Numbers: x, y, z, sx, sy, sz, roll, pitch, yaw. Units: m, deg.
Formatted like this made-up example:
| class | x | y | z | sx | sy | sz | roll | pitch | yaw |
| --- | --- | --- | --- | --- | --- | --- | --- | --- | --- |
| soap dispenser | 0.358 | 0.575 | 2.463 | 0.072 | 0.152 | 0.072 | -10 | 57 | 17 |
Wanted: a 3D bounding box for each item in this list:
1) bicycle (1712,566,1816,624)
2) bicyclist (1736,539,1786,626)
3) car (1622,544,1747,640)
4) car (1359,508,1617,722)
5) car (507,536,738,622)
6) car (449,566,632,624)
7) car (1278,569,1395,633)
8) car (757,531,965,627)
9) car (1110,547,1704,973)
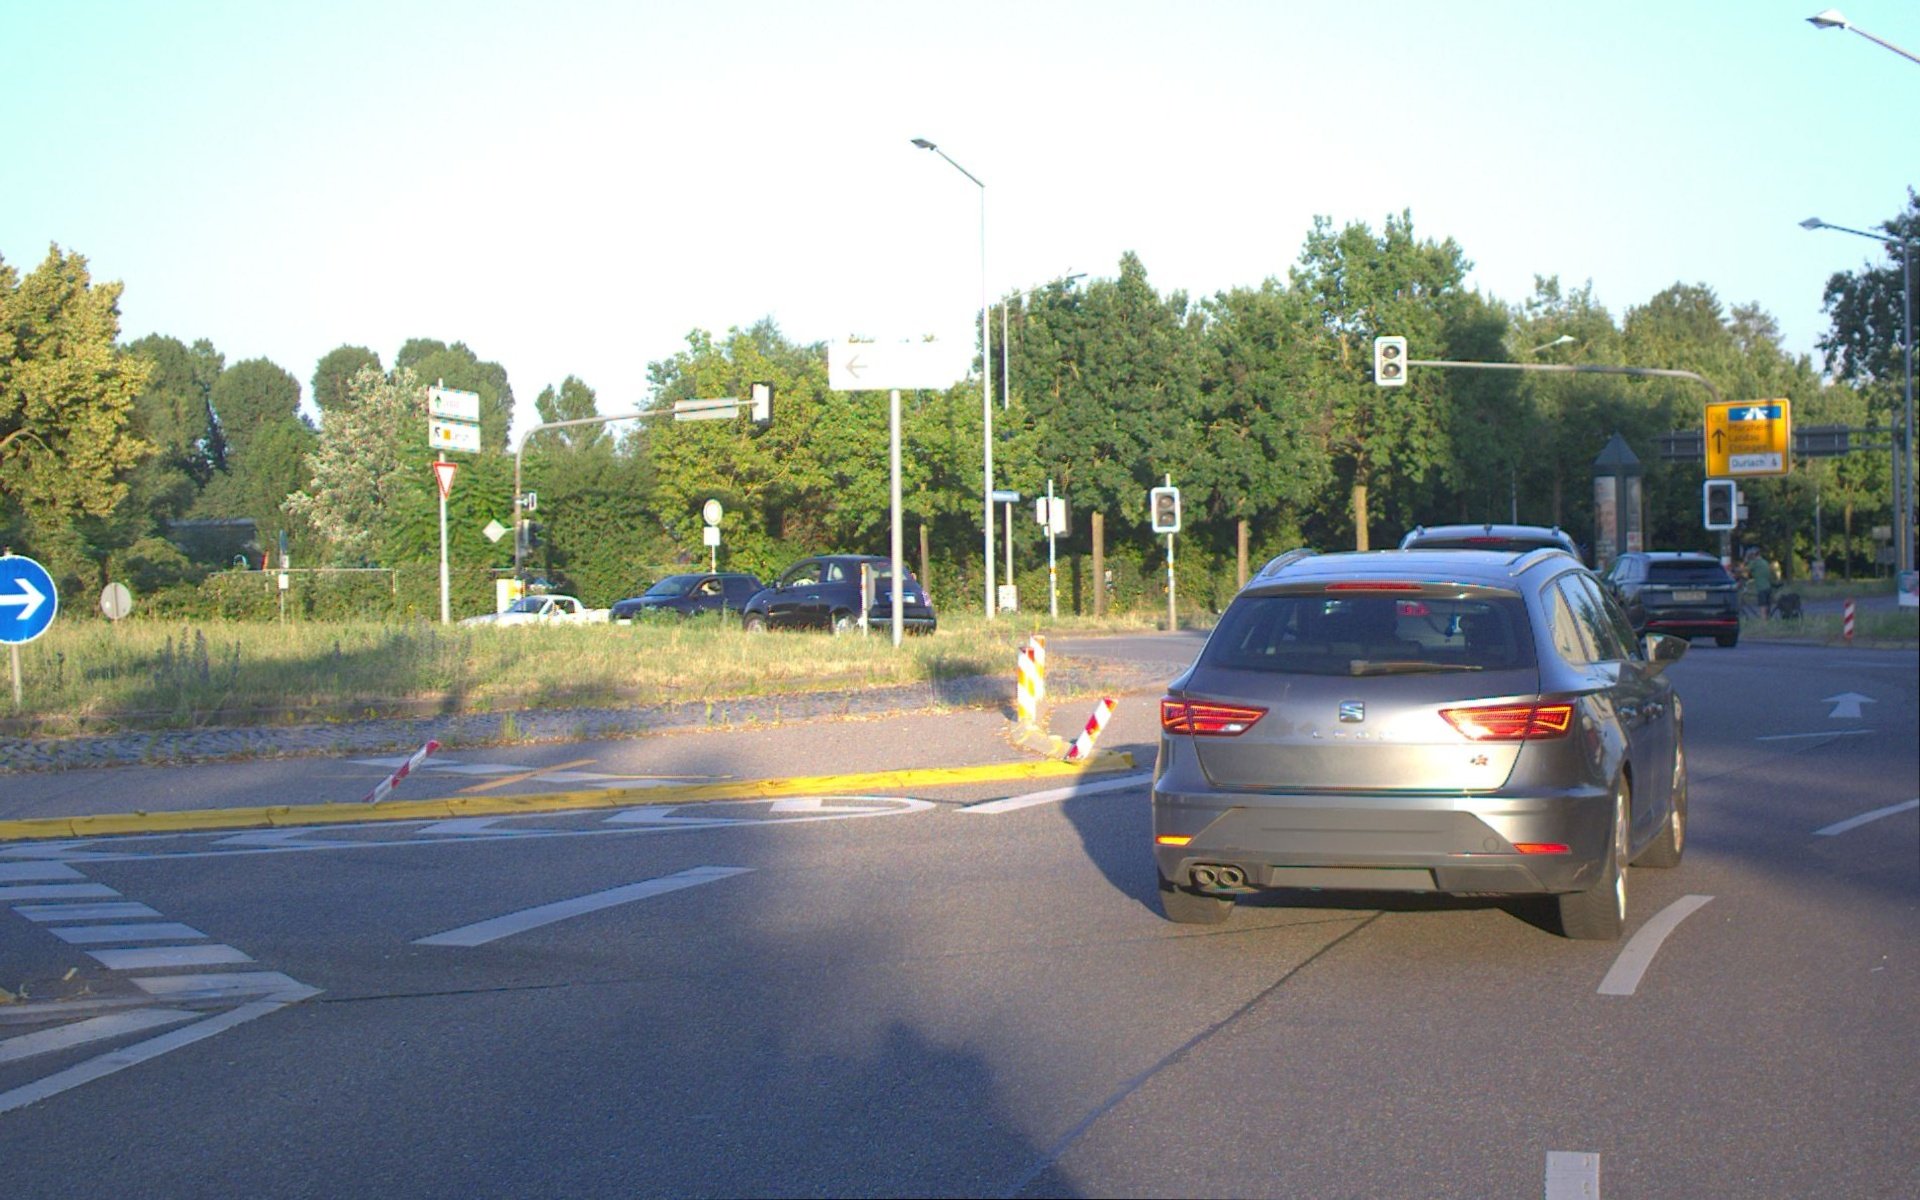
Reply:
| class | x | y | z | sx | sy | sz | roll | pitch | yaw |
| --- | --- | --- | --- | --- | --- | --- | --- | --- | --- |
| bicycle | 16.168 | -0.100 | 69.158 | 1.925 | 1.081 | 0.456 | -3 | -1 | 28 |
| bicyclist | 16.109 | -0.352 | 69.153 | 0.768 | 1.696 | 0.640 | -3 | -1 | 28 |
| car | 11.721 | -0.154 | 55.815 | 1.746 | 1.483 | 4.133 | 0 | 1 | 9 |
| car | 3.983 | 0.066 | 25.682 | 1.746 | 1.461 | 4.133 | 0 | 1 | 10 |
| car | -7.181 | -0.468 | 73.275 | 4.582 | 1.741 | 1.751 | -1 | 1 | -32 |
| car | -9.326 | -0.110 | 76.574 | 3.769 | 1.251 | 1.579 | 0 | 1 | -38 |
| car | 10.790 | 0.009 | 98.172 | 1.748 | 1.741 | 4.590 | 0 | 1 | 28 |
| car | -1.614 | -0.348 | 54.499 | 1.745 | 1.441 | 4.135 | -1 | 1 | -26 |
| car | 1.949 | 0.513 | 13.841 | 1.747 | 1.419 | 4.132 | 0 | 1 | 16 |
